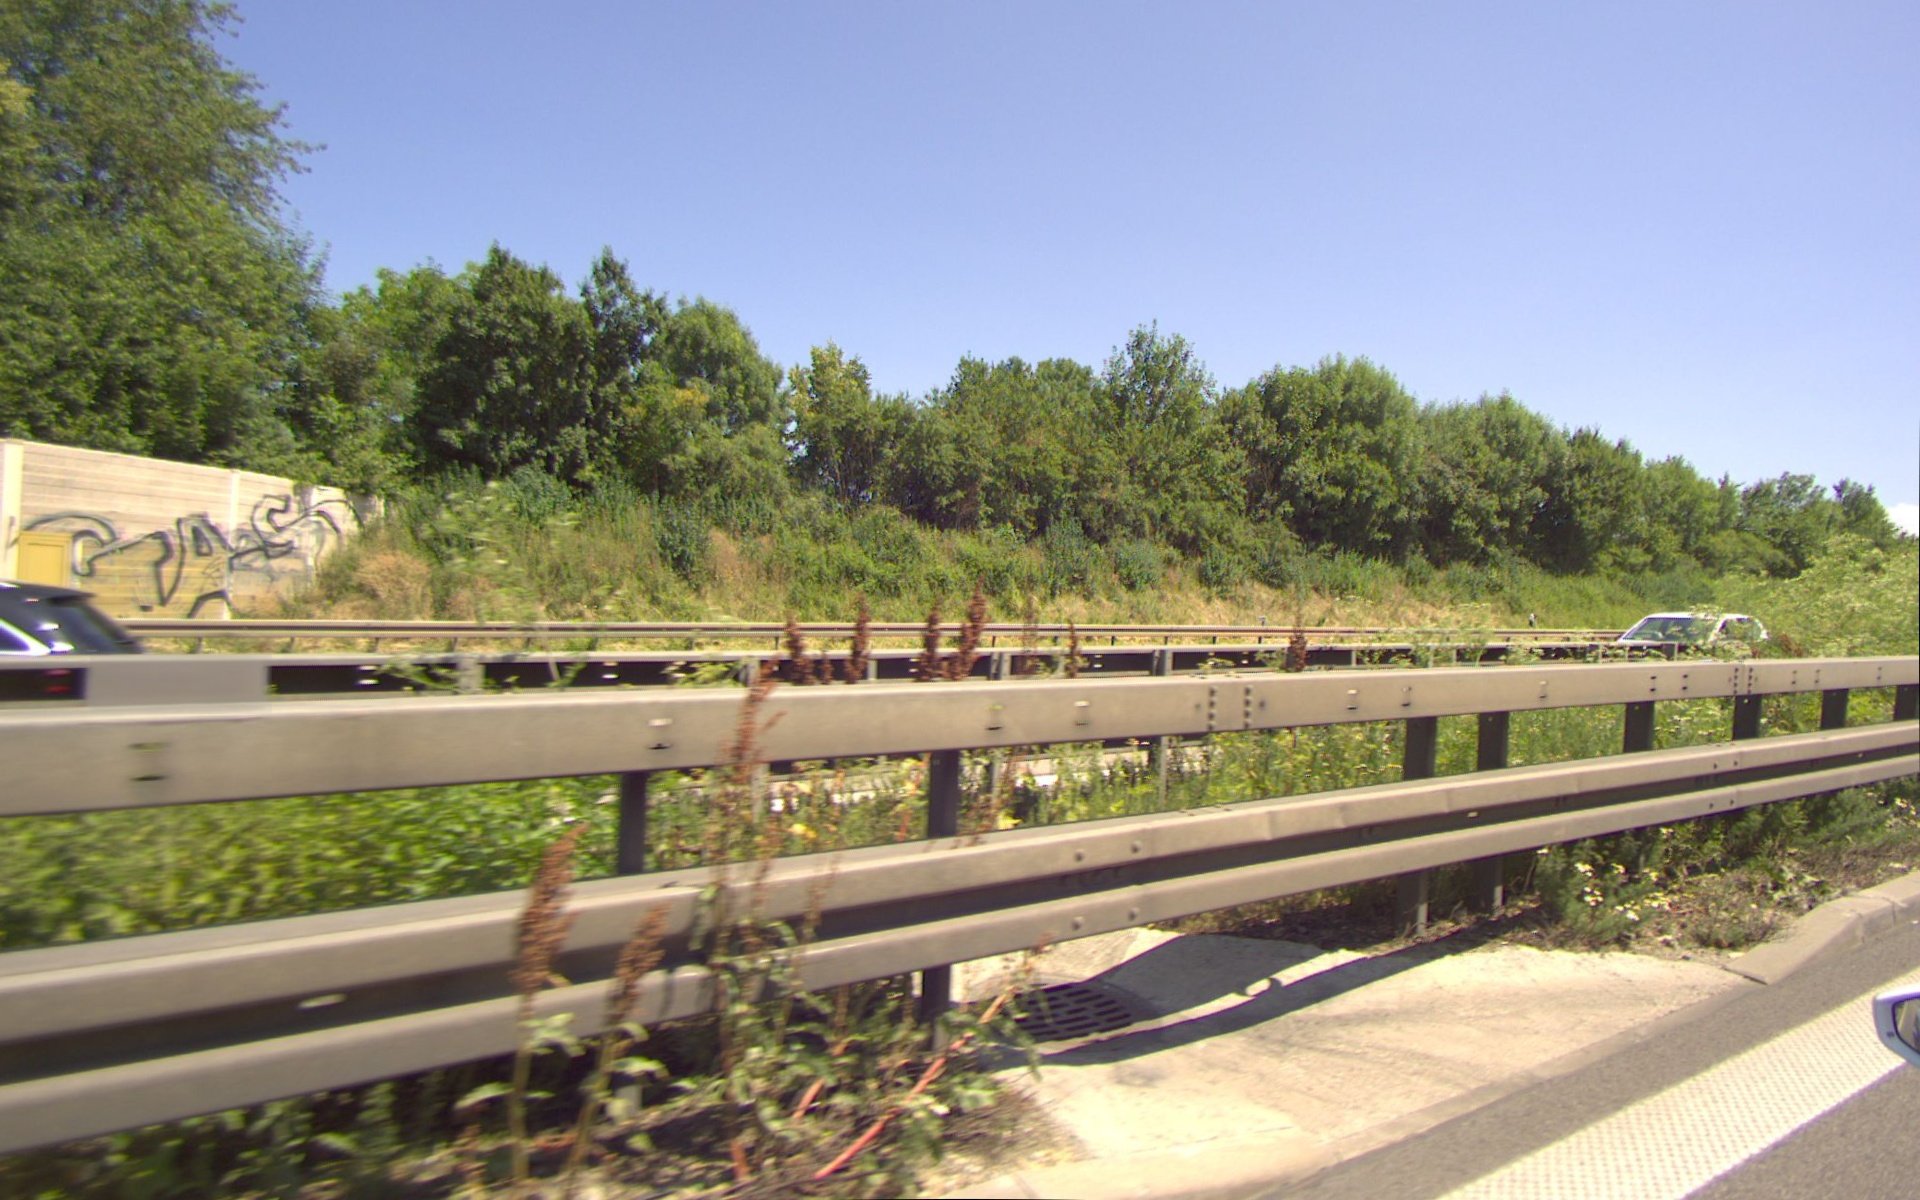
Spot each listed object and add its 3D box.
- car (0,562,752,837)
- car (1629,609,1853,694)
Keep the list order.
[{"bbox_3d":[-3.902,0.549,7.047,4.437,1.446,1.827,1,0,-31],"label":"car"},{"bbox_3d":[14.820,0.920,19.004,4.615,1.370,1.849,1,1,-32],"label":"car"}]
